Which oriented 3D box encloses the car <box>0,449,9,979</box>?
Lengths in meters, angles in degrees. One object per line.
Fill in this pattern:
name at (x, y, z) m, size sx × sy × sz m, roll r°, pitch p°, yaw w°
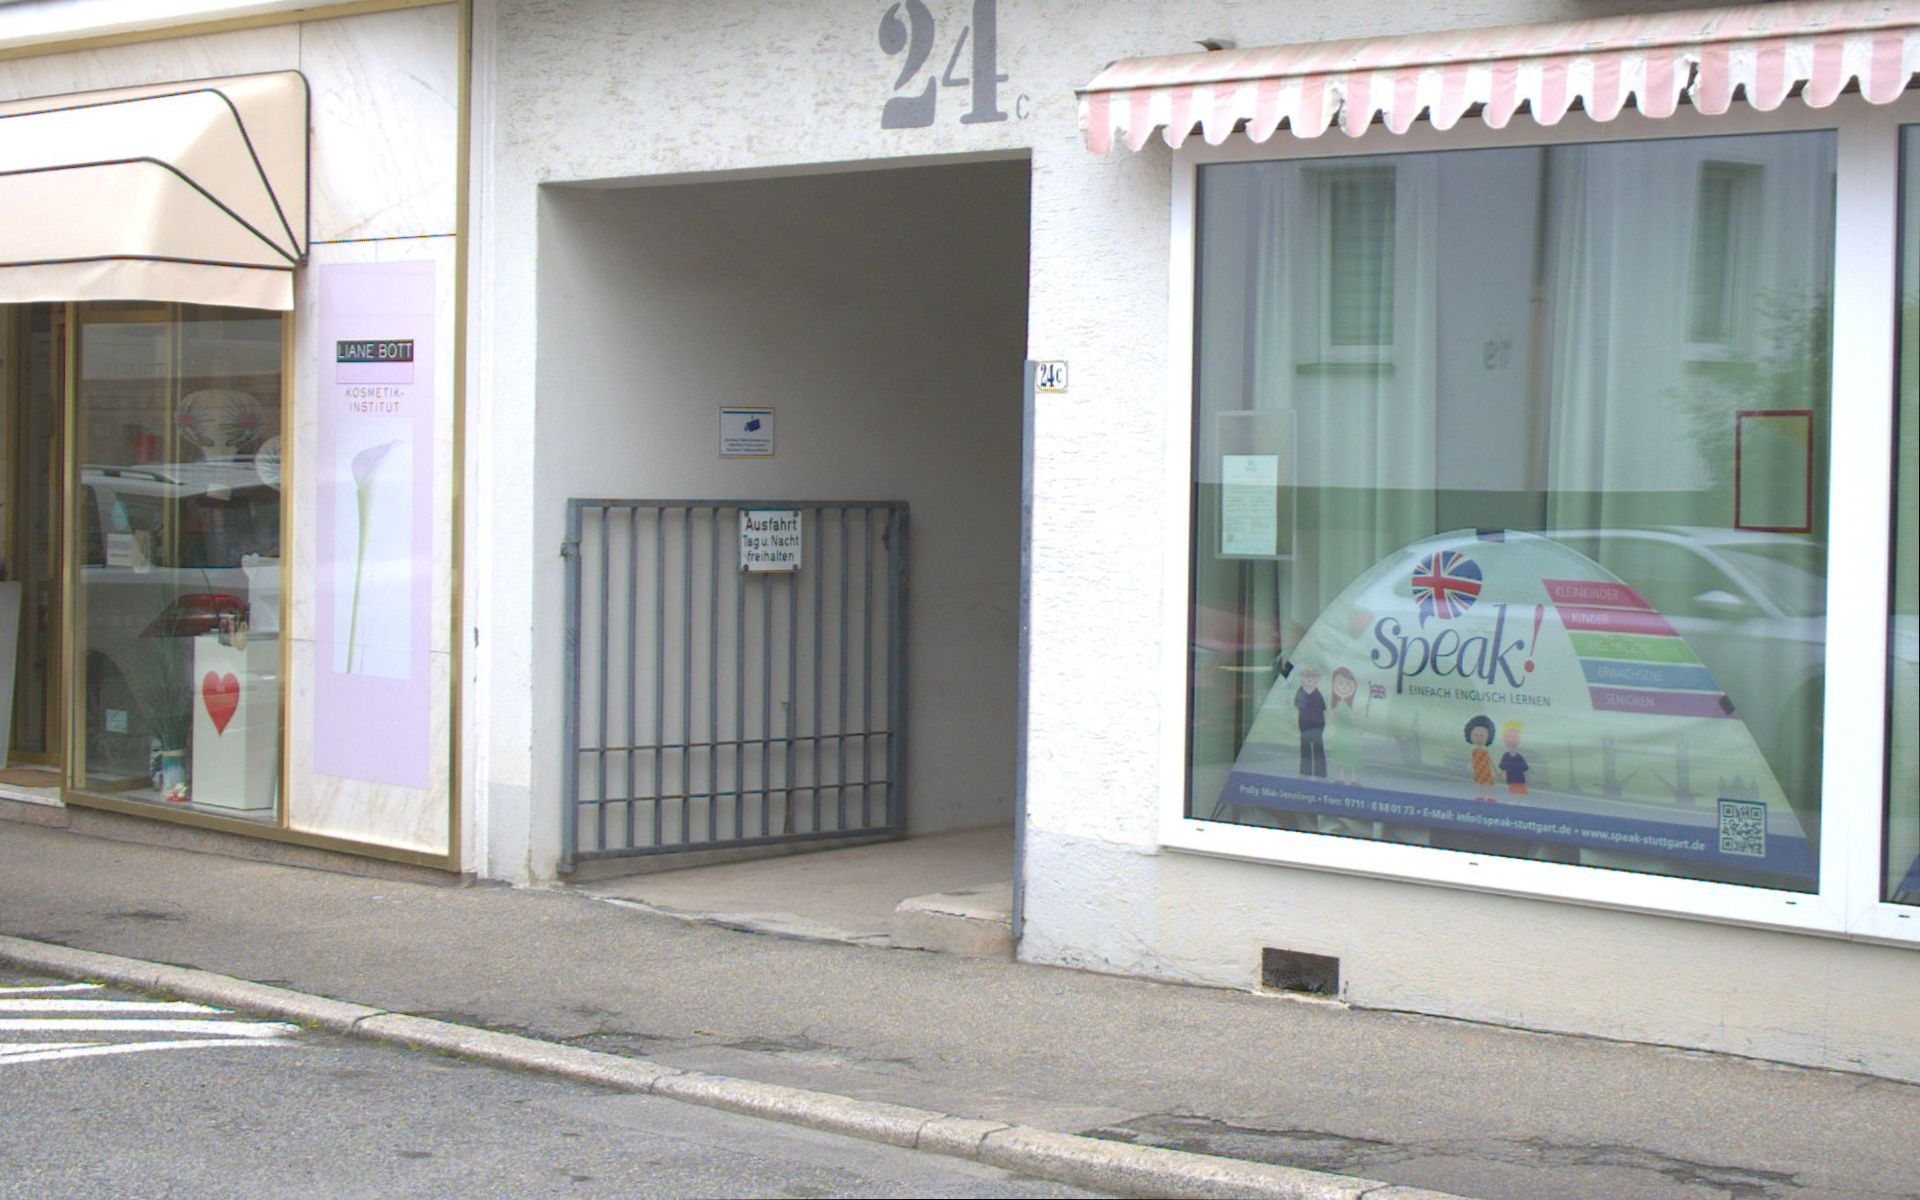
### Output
car at (-5.397, 0.337, 12.234) m, size 4.366 × 1.773 × 1.942 m, roll 2°, pitch 1°, yaw 45°
